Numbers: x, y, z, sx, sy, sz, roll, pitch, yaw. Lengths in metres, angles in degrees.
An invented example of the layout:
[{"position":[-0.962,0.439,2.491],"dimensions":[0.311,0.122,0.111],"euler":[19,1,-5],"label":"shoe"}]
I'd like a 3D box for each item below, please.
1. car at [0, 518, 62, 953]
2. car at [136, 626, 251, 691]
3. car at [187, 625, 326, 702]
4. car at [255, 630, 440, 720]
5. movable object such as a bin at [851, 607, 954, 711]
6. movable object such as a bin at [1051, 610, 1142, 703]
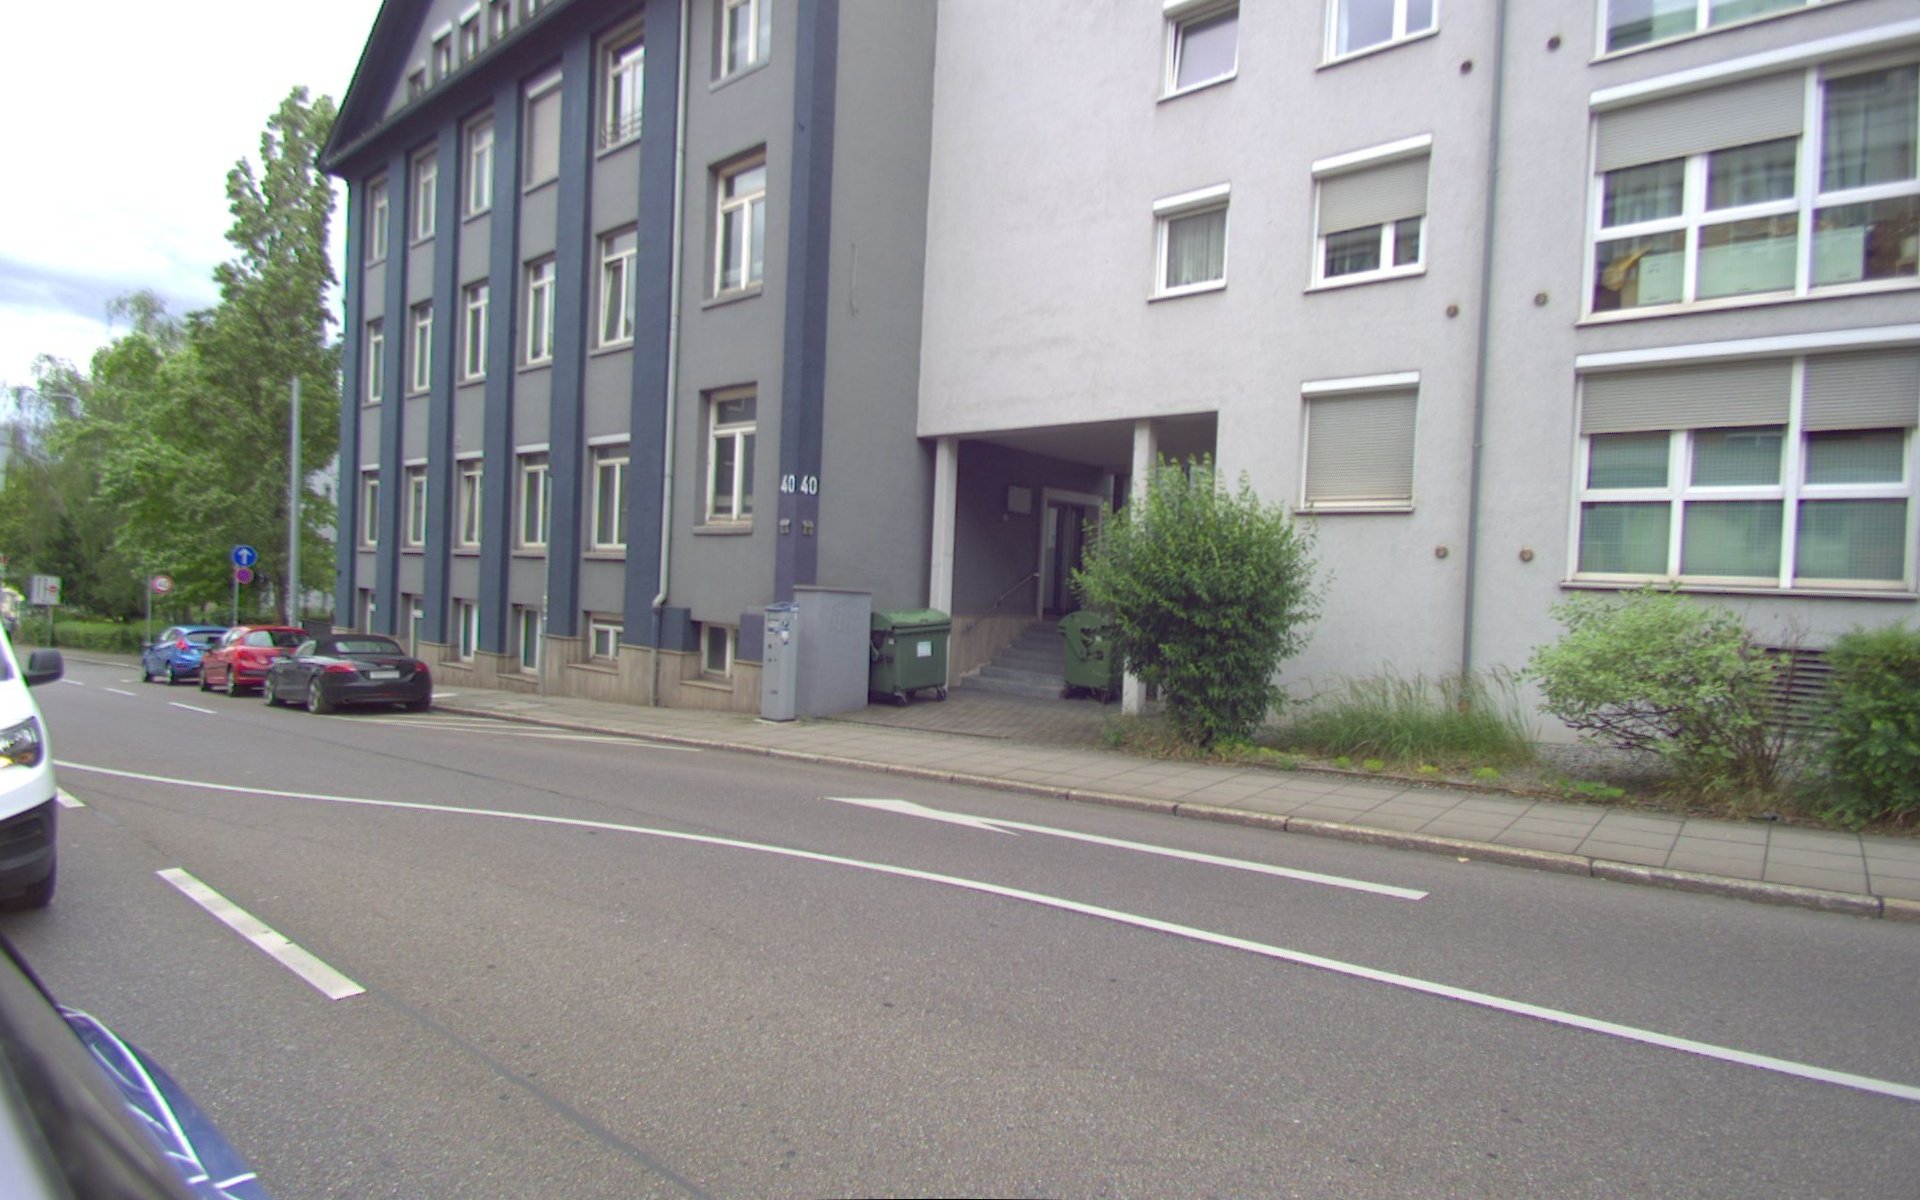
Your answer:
[{"position":[-6.126,0.616,5.246],"dimensions":[3.998,1.901,1.716],"euler":[-1,0,41],"label":"car"},{"position":[-19.513,1.420,25.726],"dimensions":[3.727,1.460,1.623],"euler":[-1,0,41],"label":"car"},{"position":[-15.352,1.314,22.022],"dimensions":[3.727,1.460,1.623],"euler":[-1,0,41],"label":"car"},{"position":[-11.033,1.264,18.150],"dimensions":[3.727,1.403,1.778],"euler":[-1,-2,41],"label":"car"},{"position":[-0.893,0.878,15.739],"dimensions":[1.039,1.518,1.213],"euler":[-1,0,41],"label":"movable object such as a bin"},{"position":[2.237,0.891,16.536],"dimensions":[1.078,1.427,1.026],"euler":[-1,0,41],"label":"movable object such as a bin"}]
